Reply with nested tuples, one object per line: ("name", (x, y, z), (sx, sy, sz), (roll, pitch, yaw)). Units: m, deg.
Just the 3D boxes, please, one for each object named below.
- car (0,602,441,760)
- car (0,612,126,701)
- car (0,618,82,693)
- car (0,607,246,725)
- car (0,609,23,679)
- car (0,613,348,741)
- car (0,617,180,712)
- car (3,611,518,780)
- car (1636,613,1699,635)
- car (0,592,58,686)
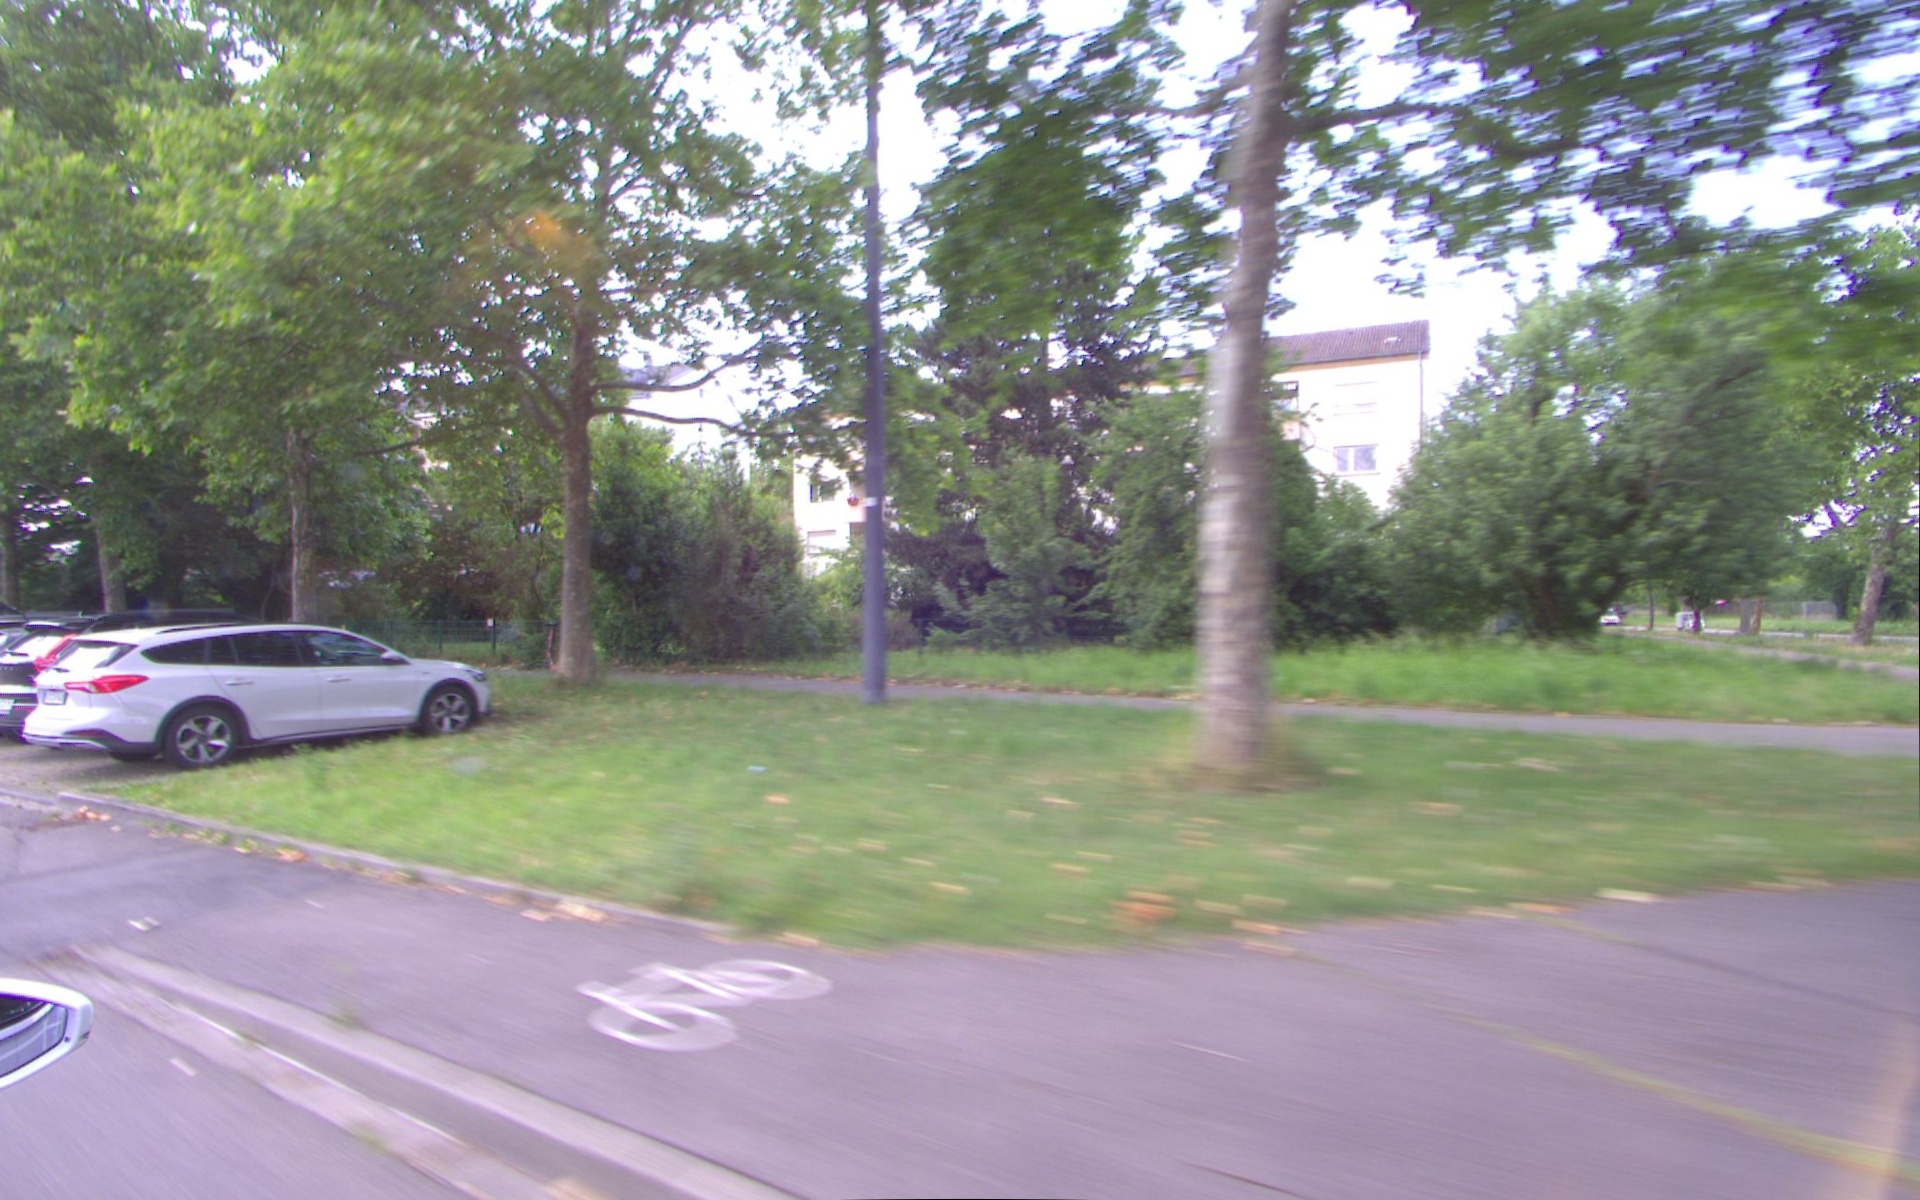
("car", (-9.601, 0.880, 13.209), (1.820, 1.647, 4.651), (0, 0, 30))
("car", (-18.611, 1.085, 18.971), (1.727, 1.626, 3.966), (-1, 0, 24))
("car", (-20.915, 1.190, 20.597), (1.732, 1.514, 3.955), (-1, 0, 33))
("car", (-14.078, 0.979, 15.689), (1.733, 1.661, 4.366), (-1, 0, 36))
("car", (-26.476, 1.174, 24.754), (1.830, 1.790, 4.534), (-1, 0, 33))
("car", (-11.641, 0.997, 14.534), (1.733, 1.521, 4.366), (0, 0, 36))
("car", (-16.361, 1.101, 17.507), (1.732, 1.514, 3.955), (-1, 0, 33))
("car", (-7.869, 0.924, 11.837), (1.820, 1.493, 4.651), (0, 0, 30))
("car", (51.535, 1.704, 73.048), (1.962, 1.533, 4.684), (-1, -1, 12))
("car", (-23.374, 0.924, 22.307), (1.830, 2.152, 4.534), (-1, 0, 33))
